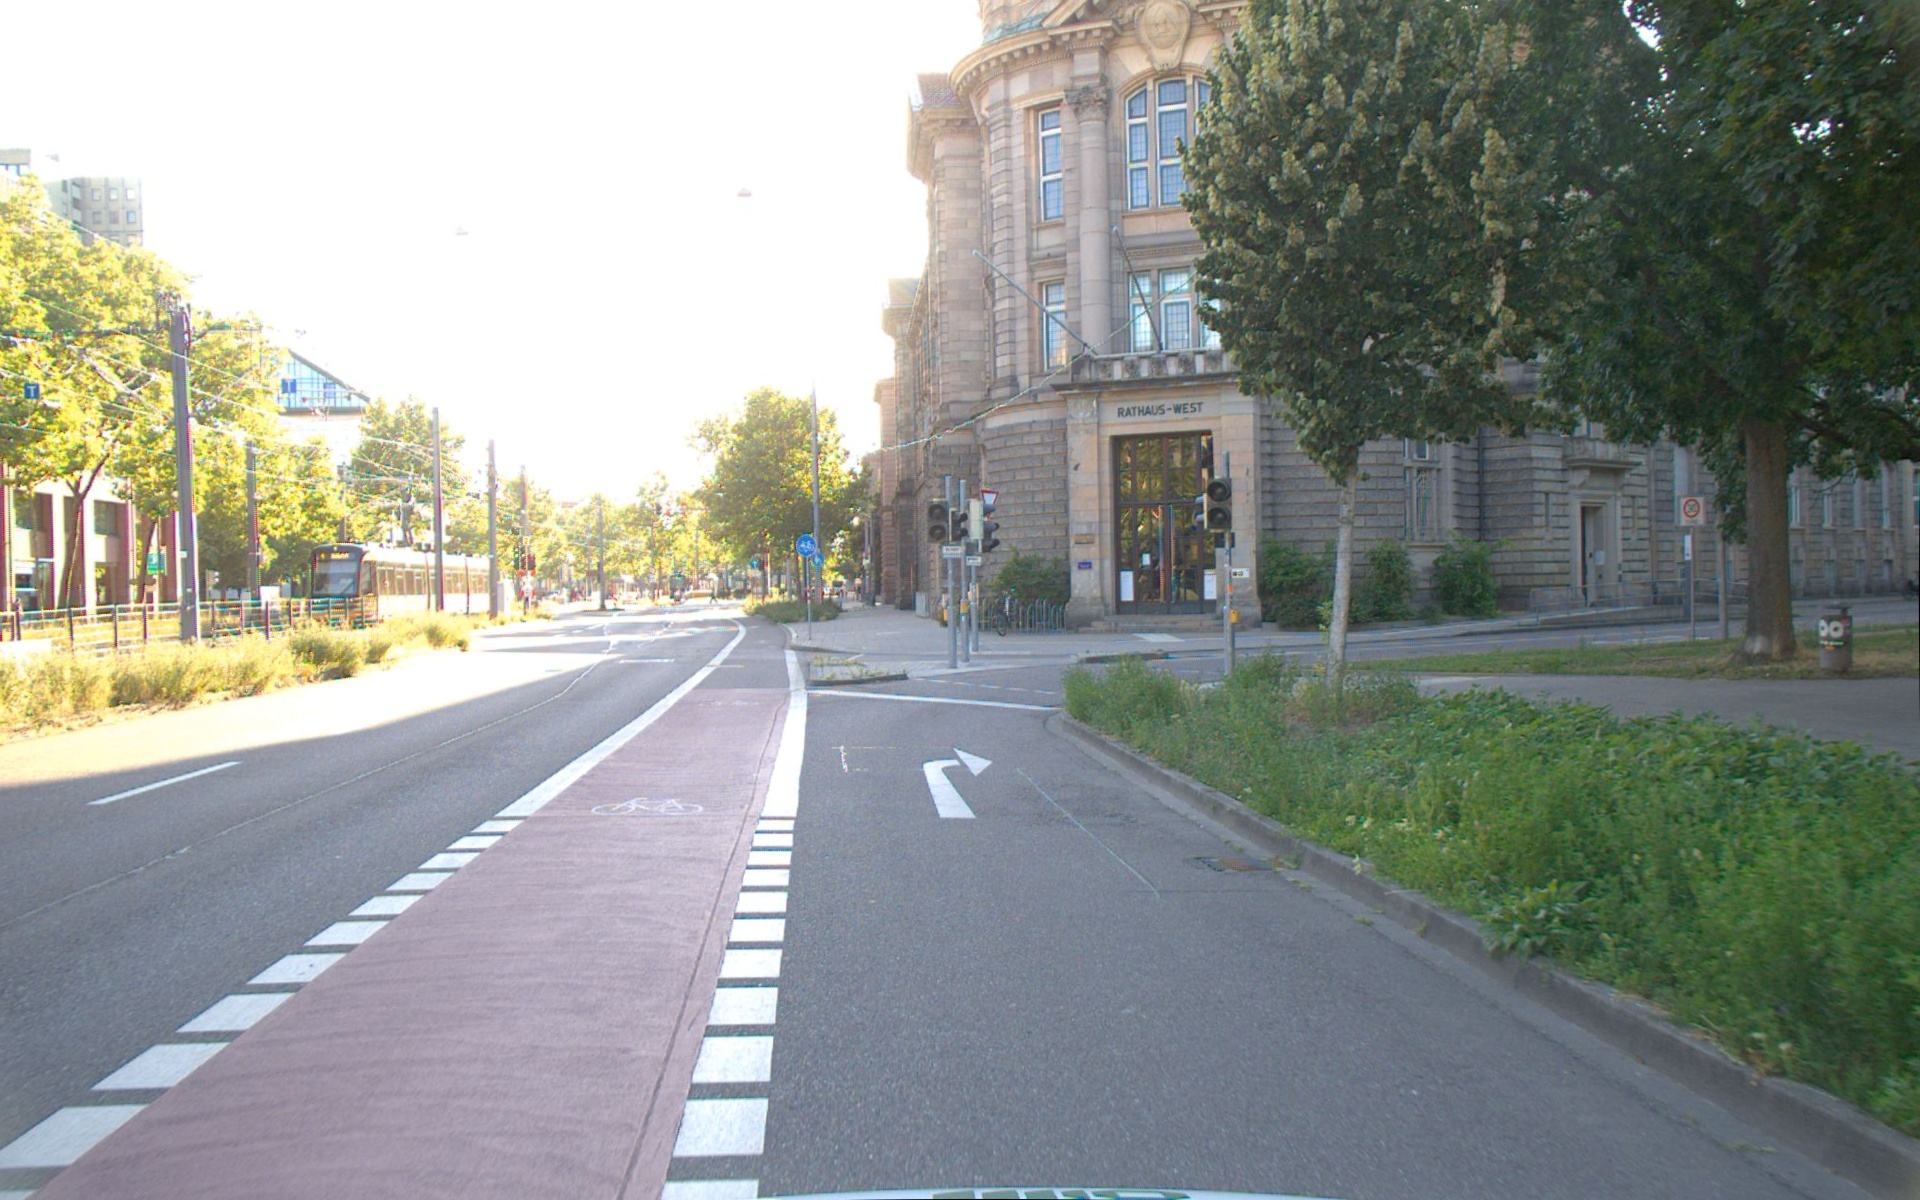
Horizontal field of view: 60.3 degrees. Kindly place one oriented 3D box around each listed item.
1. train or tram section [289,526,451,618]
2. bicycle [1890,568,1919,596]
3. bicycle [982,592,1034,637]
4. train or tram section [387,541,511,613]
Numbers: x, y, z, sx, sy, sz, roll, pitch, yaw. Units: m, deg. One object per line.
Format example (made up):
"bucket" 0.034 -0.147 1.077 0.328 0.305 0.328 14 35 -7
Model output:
"train or tram section" -26.546 -1.163 75.657 3.053 3.621 17.452 -2 0 -7
"bicycle" 39.381 -0.760 68.493 1.962 1.120 0.843 -1 2 -39
"bicycle" 1.367 0.391 46.559 0.848 1.217 2.240 -2 0 18
"train or tram section" -28.735 -1.212 94.229 3.053 3.621 19.902 -2 0 -7
